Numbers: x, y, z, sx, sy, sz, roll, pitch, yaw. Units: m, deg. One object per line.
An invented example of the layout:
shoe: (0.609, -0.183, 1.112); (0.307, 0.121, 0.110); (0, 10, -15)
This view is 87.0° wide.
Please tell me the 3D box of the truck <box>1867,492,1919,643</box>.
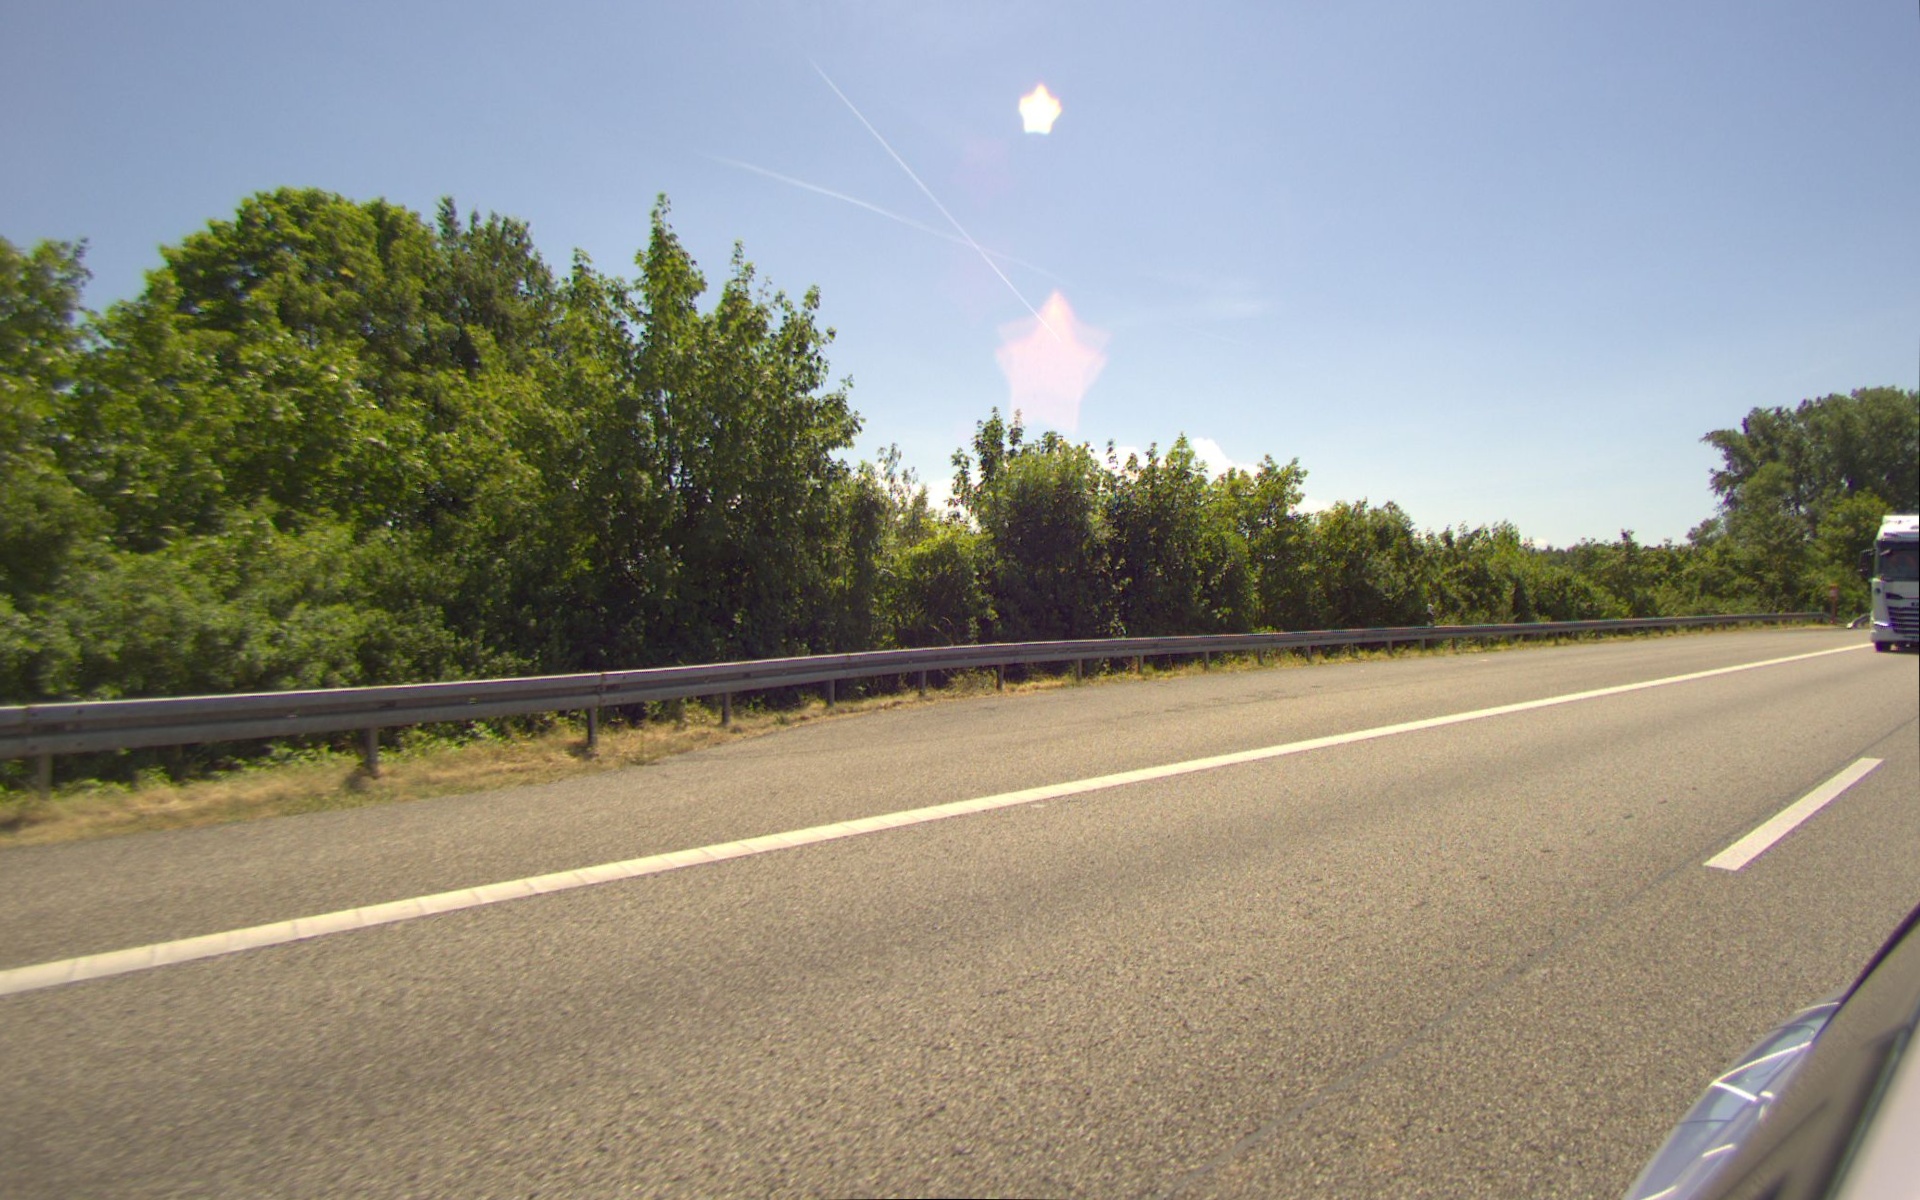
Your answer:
truck: (29.032, -0.912, 29.548); (6.096, 4.158, 2.965); (0, 0, -40)

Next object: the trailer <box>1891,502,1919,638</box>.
trailer: (34.685, -0.951, 34.349); (12.309, 4.158, 2.965); (0, 0, -40)
